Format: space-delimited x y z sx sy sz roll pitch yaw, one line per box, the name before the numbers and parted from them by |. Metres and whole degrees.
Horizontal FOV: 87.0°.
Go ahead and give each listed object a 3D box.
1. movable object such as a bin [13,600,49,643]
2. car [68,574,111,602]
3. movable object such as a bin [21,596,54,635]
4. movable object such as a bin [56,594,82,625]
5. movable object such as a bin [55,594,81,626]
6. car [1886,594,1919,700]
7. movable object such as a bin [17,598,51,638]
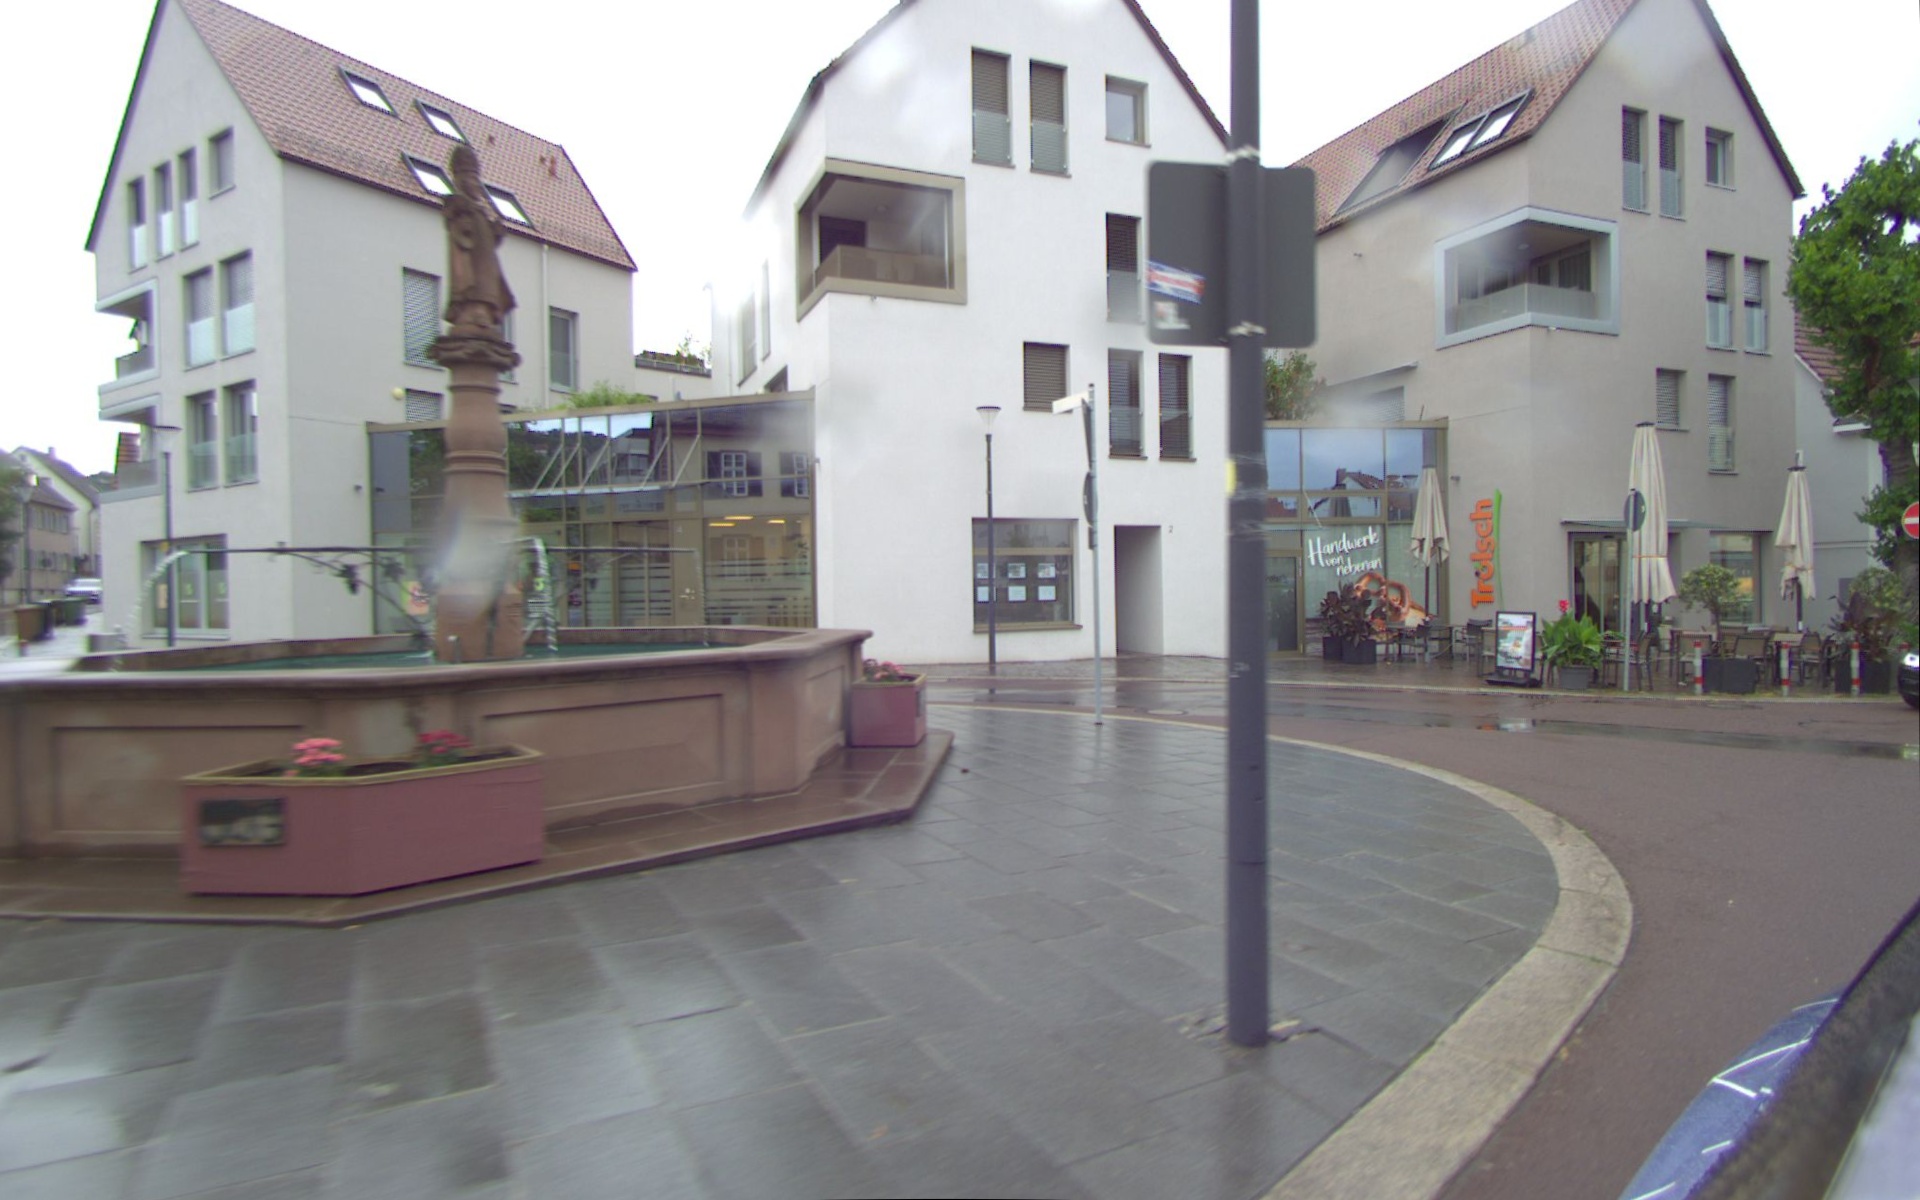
movable object such as a bin | -28.826 0.654 31.417 0.766 1.274 1.016 -1 1 -39
car | -58.794 -0.859 68.411 1.963 1.830 3.998 -1 2 -37
movable object such as a bin | -31.577 0.518 34.666 0.766 1.274 1.016 -1 1 -39
movable object such as a bin | -38.026 0.383 43.201 0.766 1.274 1.016 -1 1 -39
movable object such as a bin | -37.268 0.408 42.304 0.766 1.274 1.016 -1 1 -39
car | 14.809 0.611 13.308 4.352 1.387 1.884 0 1 -16
movable object such as a bin | -30.663 0.597 33.538 0.766 1.274 1.016 -1 1 -39
